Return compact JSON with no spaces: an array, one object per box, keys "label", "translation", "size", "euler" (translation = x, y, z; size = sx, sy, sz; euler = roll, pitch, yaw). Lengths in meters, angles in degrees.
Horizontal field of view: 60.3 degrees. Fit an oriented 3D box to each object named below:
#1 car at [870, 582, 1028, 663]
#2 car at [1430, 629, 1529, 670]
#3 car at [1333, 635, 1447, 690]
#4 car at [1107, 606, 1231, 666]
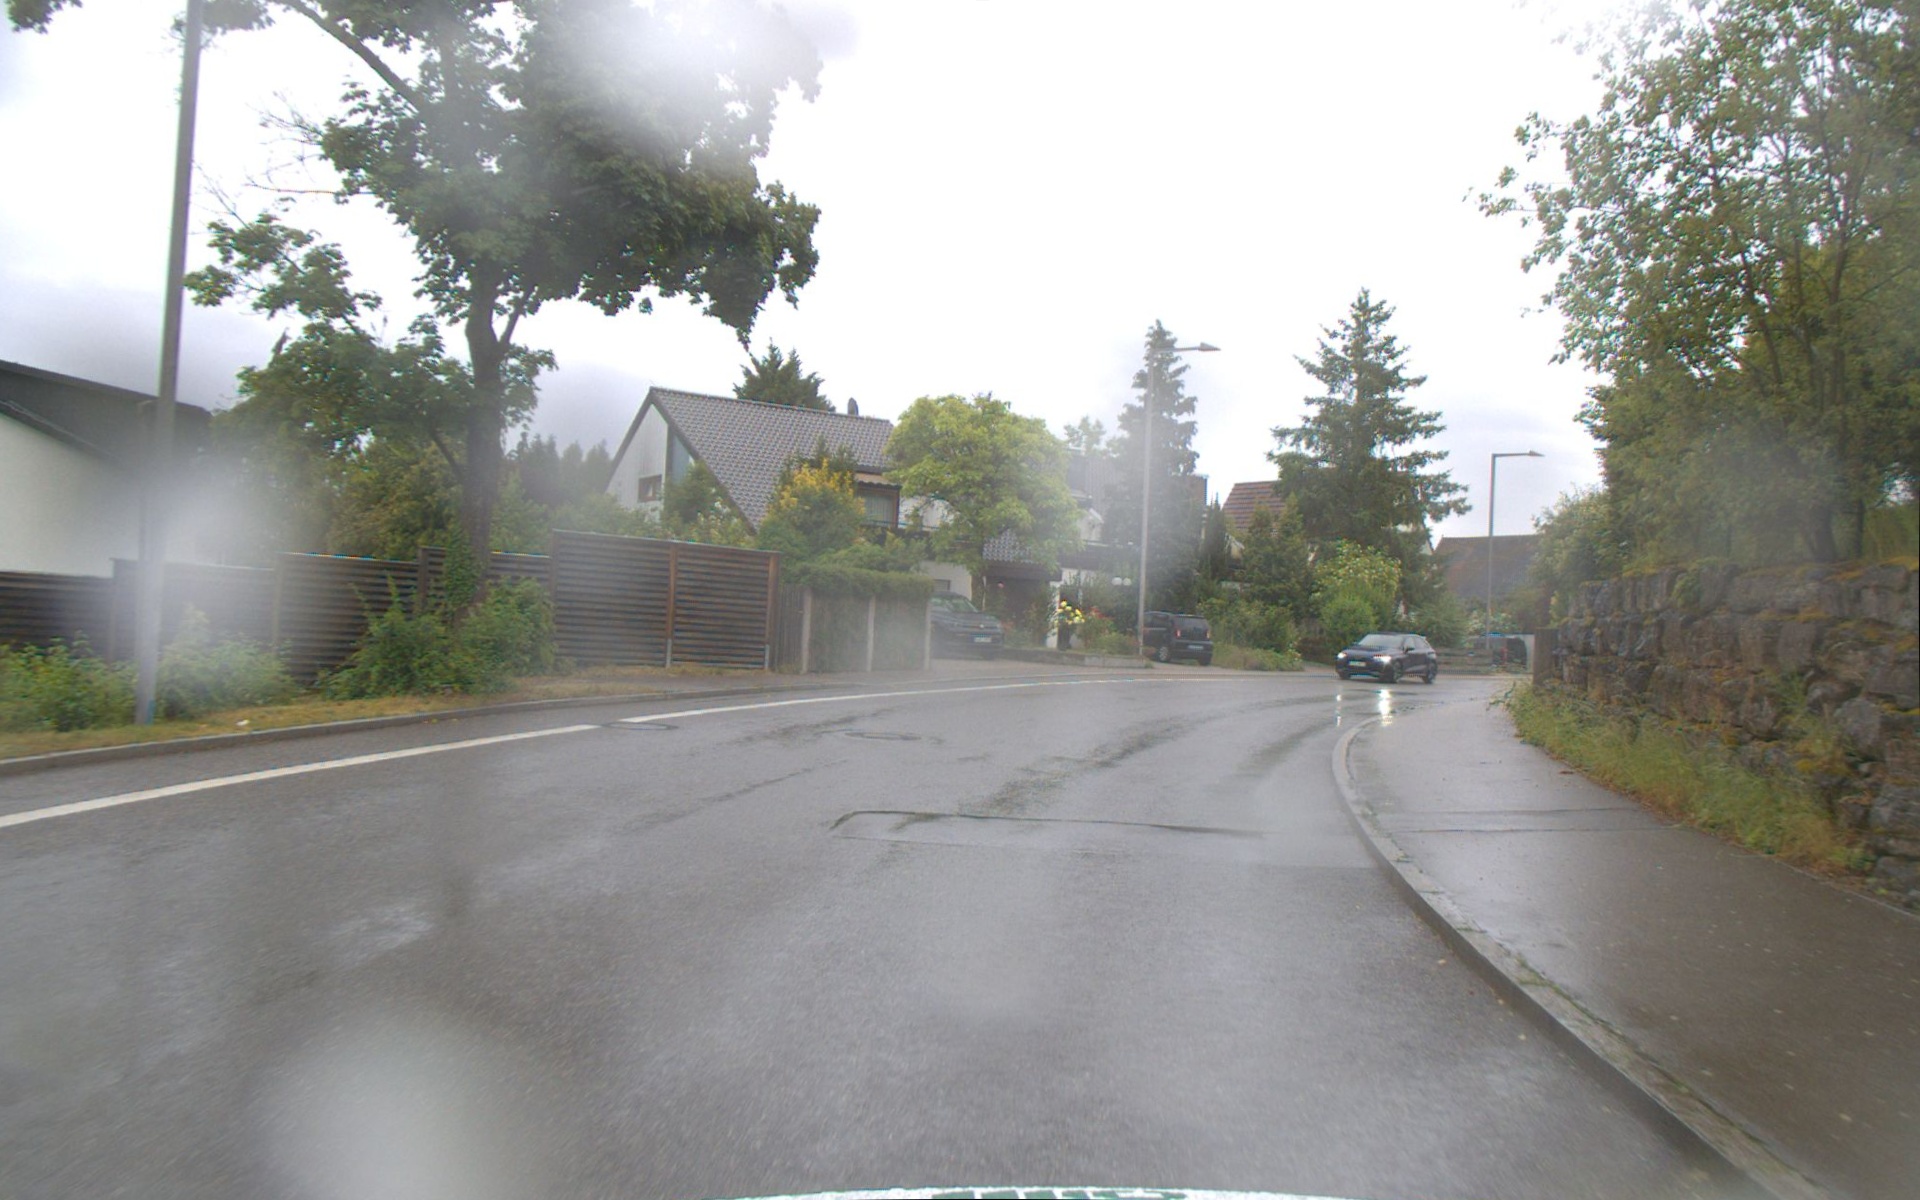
[{"label":"car","translation":[-0.330,0.547,42.094],"size":[1.992,1.659,3.950],"euler":[5,0,-36]},{"label":"car","translation":[24.153,2.313,76.994],"size":[1.976,1.648,3.952],"euler":[4,-1,-34]},{"label":"car","translation":[12.725,1.860,48.786],"size":[1.748,1.445,4.147],"euler":[3,0,37]},{"label":"car","translation":[6.229,1.055,49.709],"size":[1.908,1.413,3.973],"euler":[6,0,-23]}]
